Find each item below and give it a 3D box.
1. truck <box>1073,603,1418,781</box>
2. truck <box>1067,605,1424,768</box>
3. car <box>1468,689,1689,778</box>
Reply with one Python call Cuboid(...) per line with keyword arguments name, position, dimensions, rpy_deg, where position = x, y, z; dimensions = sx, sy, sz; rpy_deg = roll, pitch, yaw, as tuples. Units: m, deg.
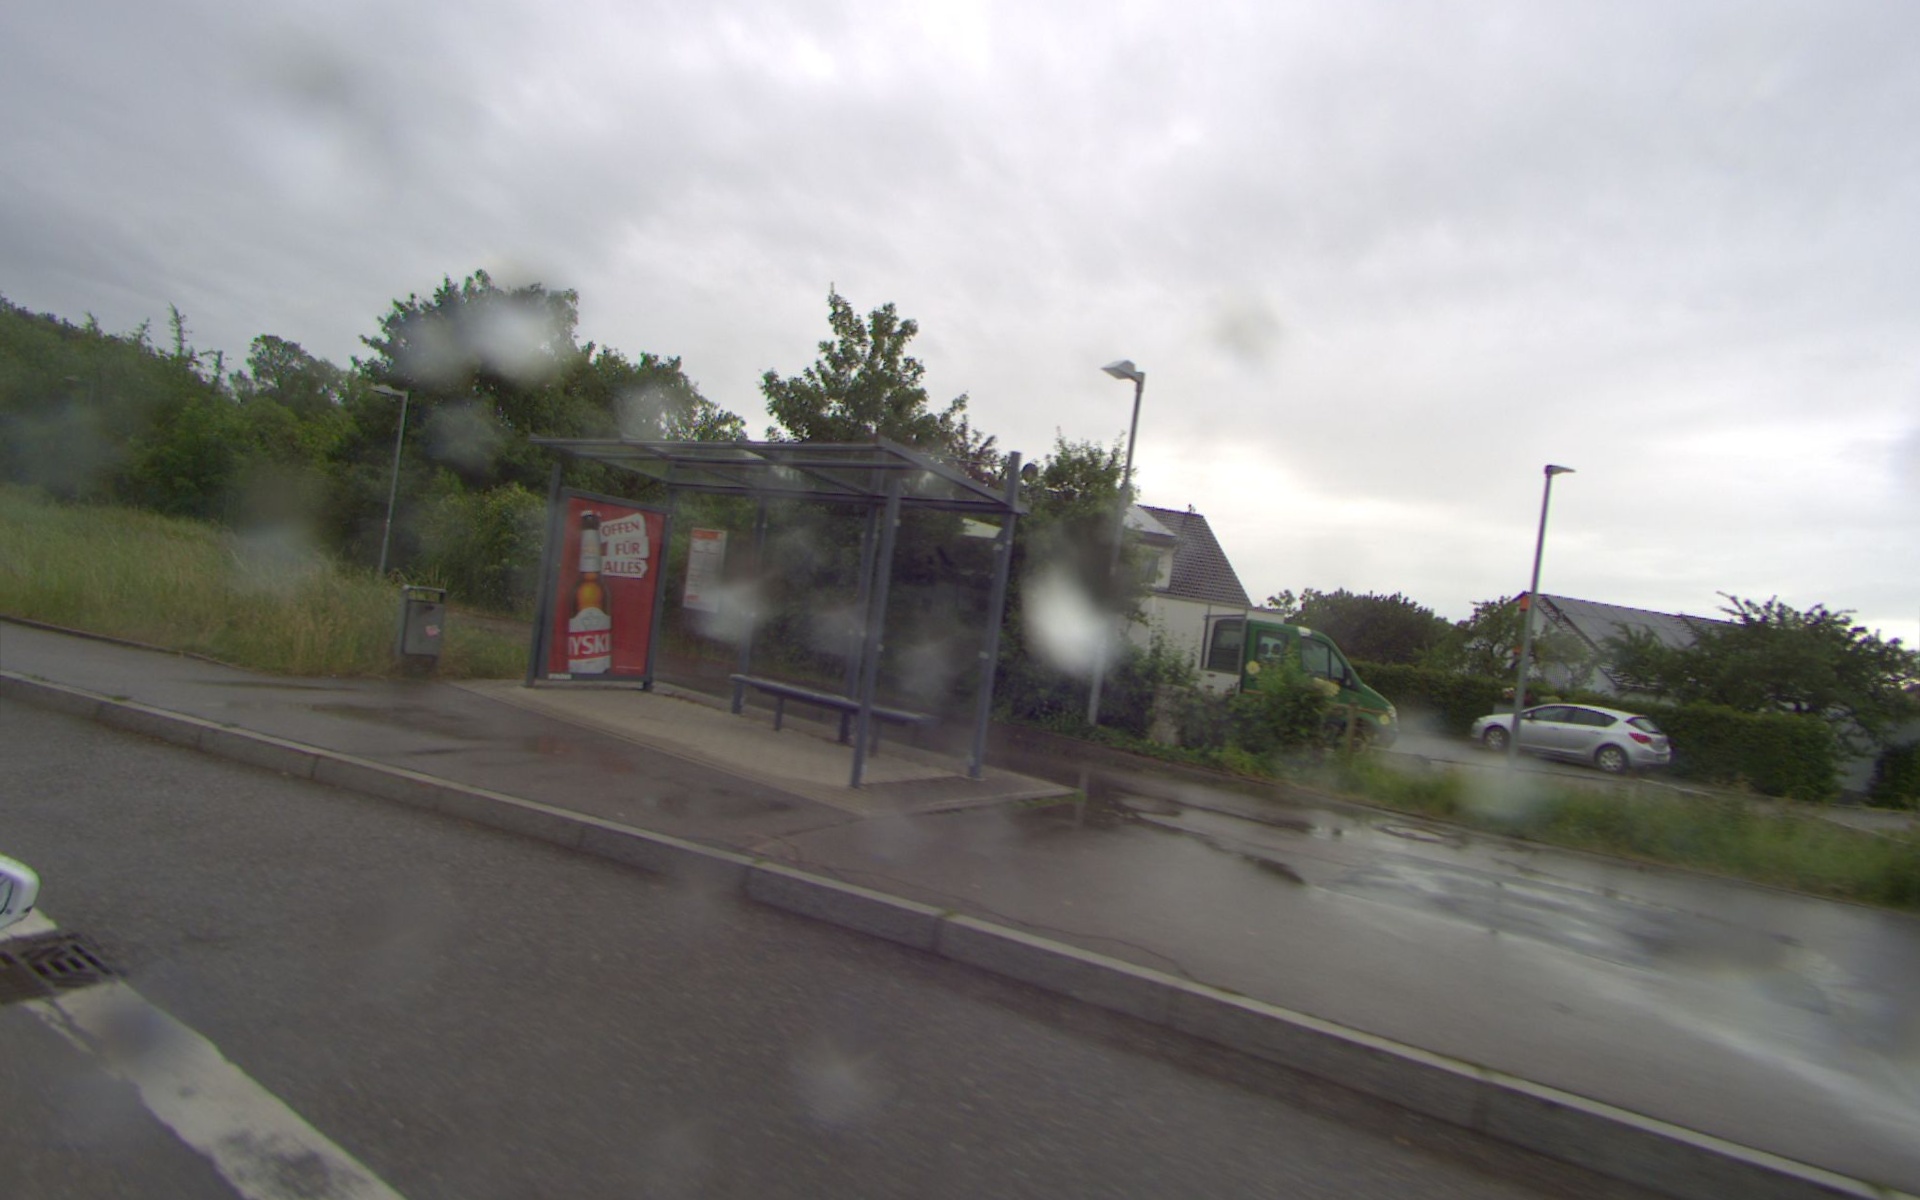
Cuboid(name="truck", position=(5.102, 1.639, 18.362), dimensions=(5.537, 2.556, 1.998), rpy_deg=(6, -1, -7))
Cuboid(name="truck", position=(5.087, 1.532, 18.340), dimensions=(5.747, 2.134, 1.999), rpy_deg=(7, -1, -7))
Cuboid(name="car", position=(15.029, 3.222, 24.672), dimensions=(1.745, 1.449, 4.169), rpy_deg=(8, -1, -34))
